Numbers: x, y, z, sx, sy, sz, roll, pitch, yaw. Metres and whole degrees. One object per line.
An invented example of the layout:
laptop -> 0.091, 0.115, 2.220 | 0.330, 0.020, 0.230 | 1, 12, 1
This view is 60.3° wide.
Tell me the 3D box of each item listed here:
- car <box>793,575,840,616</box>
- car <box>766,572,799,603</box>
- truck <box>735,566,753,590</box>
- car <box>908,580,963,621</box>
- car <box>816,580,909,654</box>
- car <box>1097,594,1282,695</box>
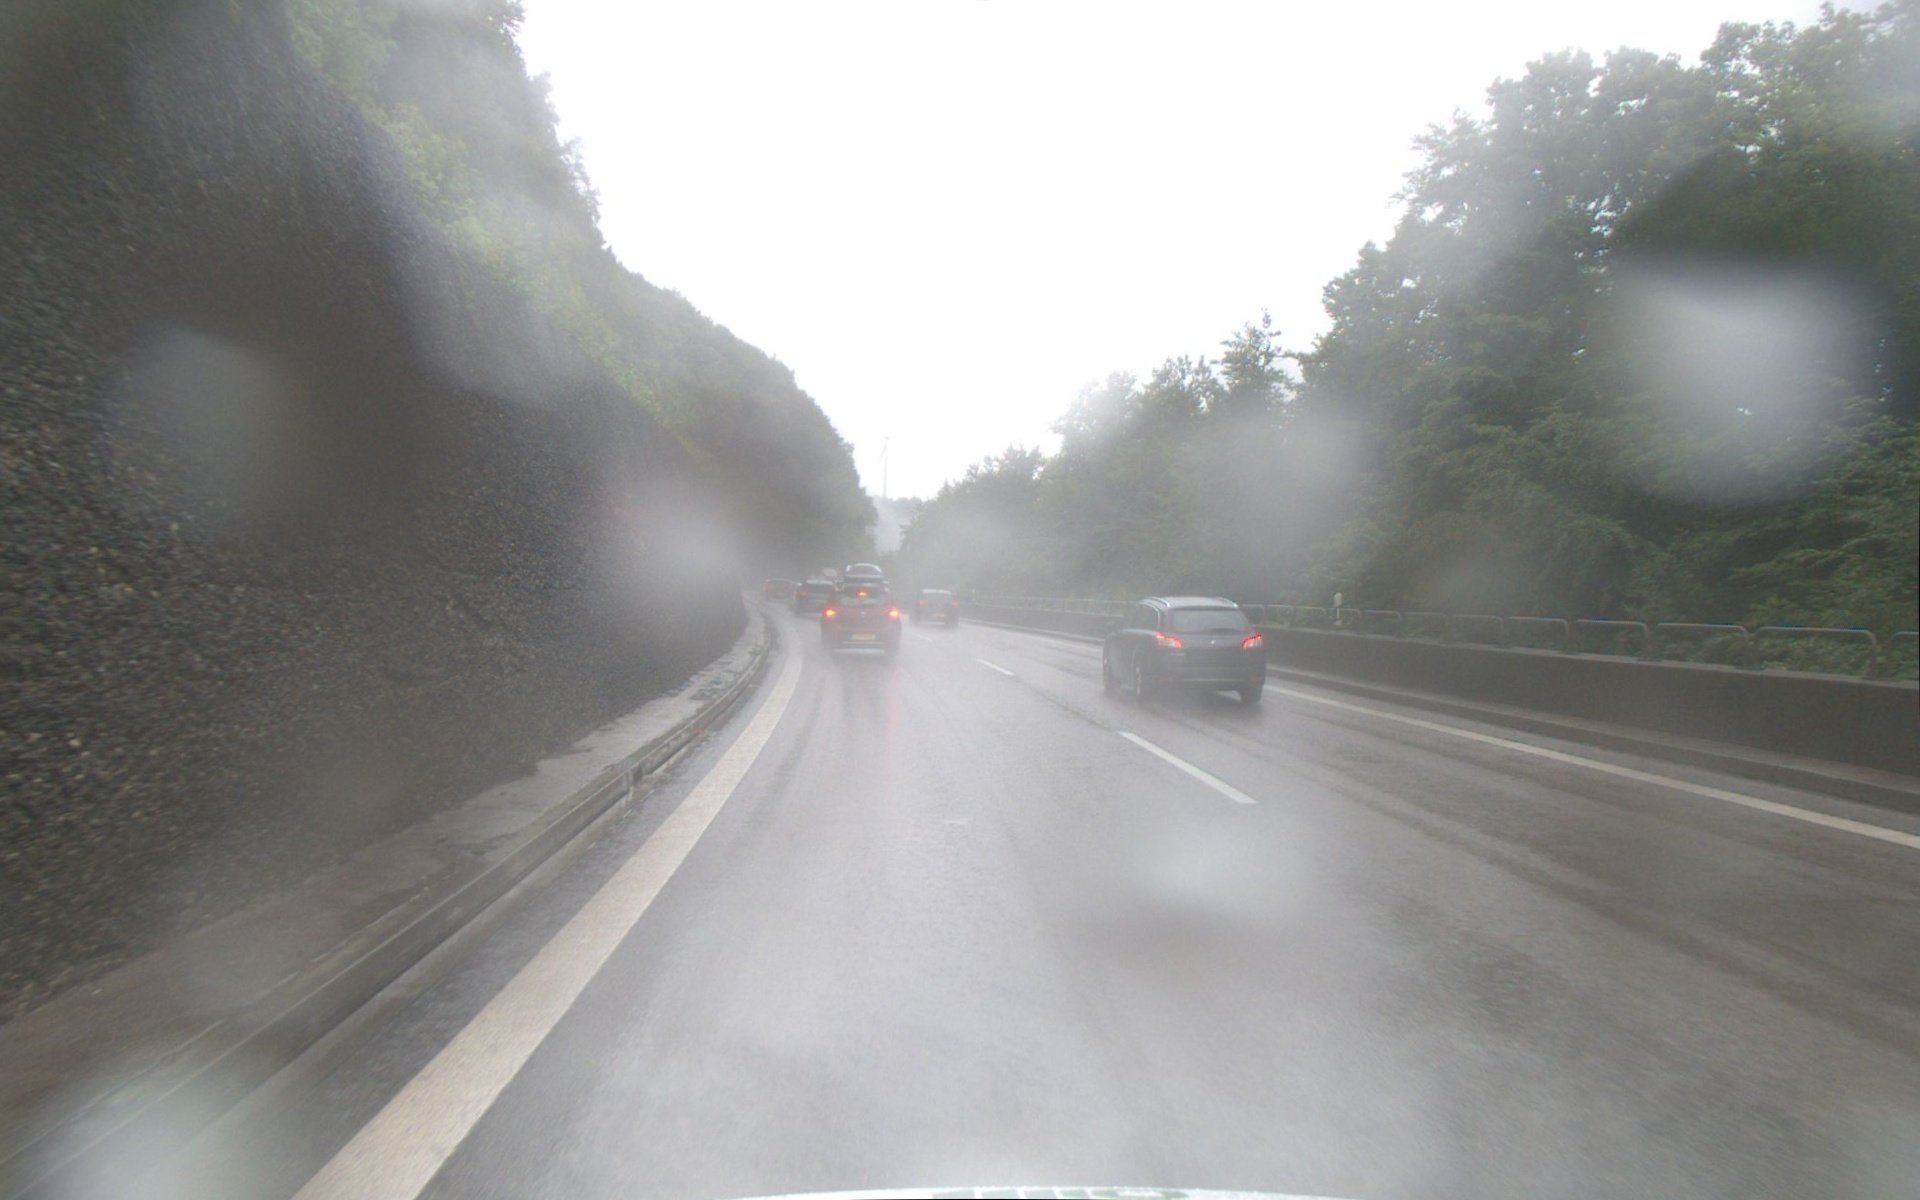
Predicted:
car -> -6.388, -0.179, 73.261 | 1.955, 1.713, 3.994 | 1, -1, -6
car -> -12.432, -0.832, 115.516 | 1.958, 2.049, 3.989 | 1, -1, -11
truck -> -25.785, -2.613, 197.206 | 1.957, 2.799, 5.575 | 3, 0, -9
car -> -1.046, -0.004, 67.651 | 1.954, 1.579, 3.996 | 1, 0, -5
car -> -2.261, 0.378, 37.525 | 1.955, 1.579, 3.995 | 1, 0, -5
car -> 3.241, 0.589, 24.124 | 1.766, 1.330, 3.995 | 1, 0, -6
